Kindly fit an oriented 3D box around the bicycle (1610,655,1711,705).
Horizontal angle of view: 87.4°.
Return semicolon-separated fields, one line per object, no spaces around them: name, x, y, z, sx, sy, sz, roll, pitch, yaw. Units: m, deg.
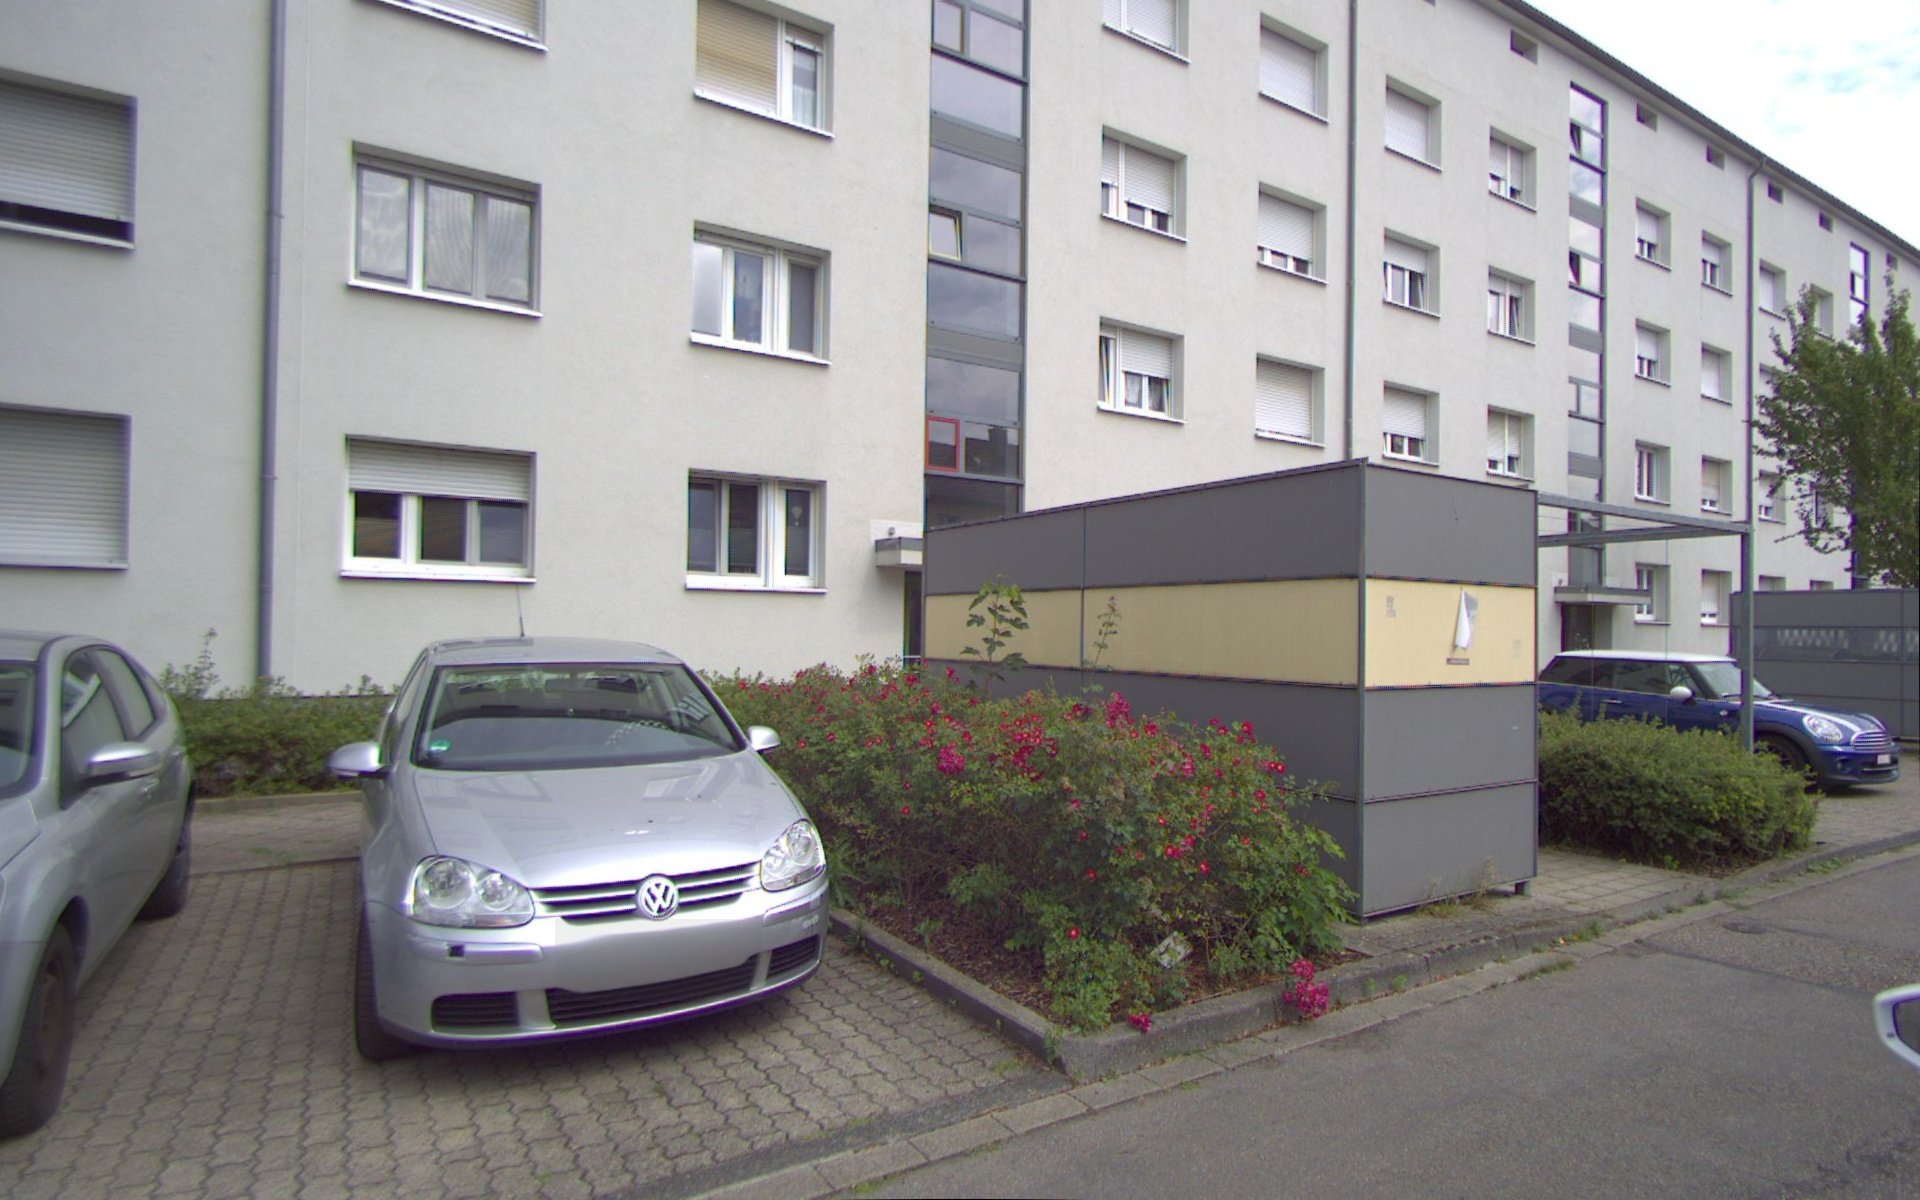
bicycle;15.501;1.750;22.258;1.775;1.038;0.479;0;-1;18

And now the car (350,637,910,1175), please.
car;-1.977;0.935;4.991;1.762;1.483;4.031;2;-3;-31

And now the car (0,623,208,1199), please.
car;-4.091;0.858;3.640;1.762;1.525;4.031;2;-3;-31

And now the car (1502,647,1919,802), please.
car;8.579;1.306;11.786;1.632;1.480;3.621;2;-3;-28
